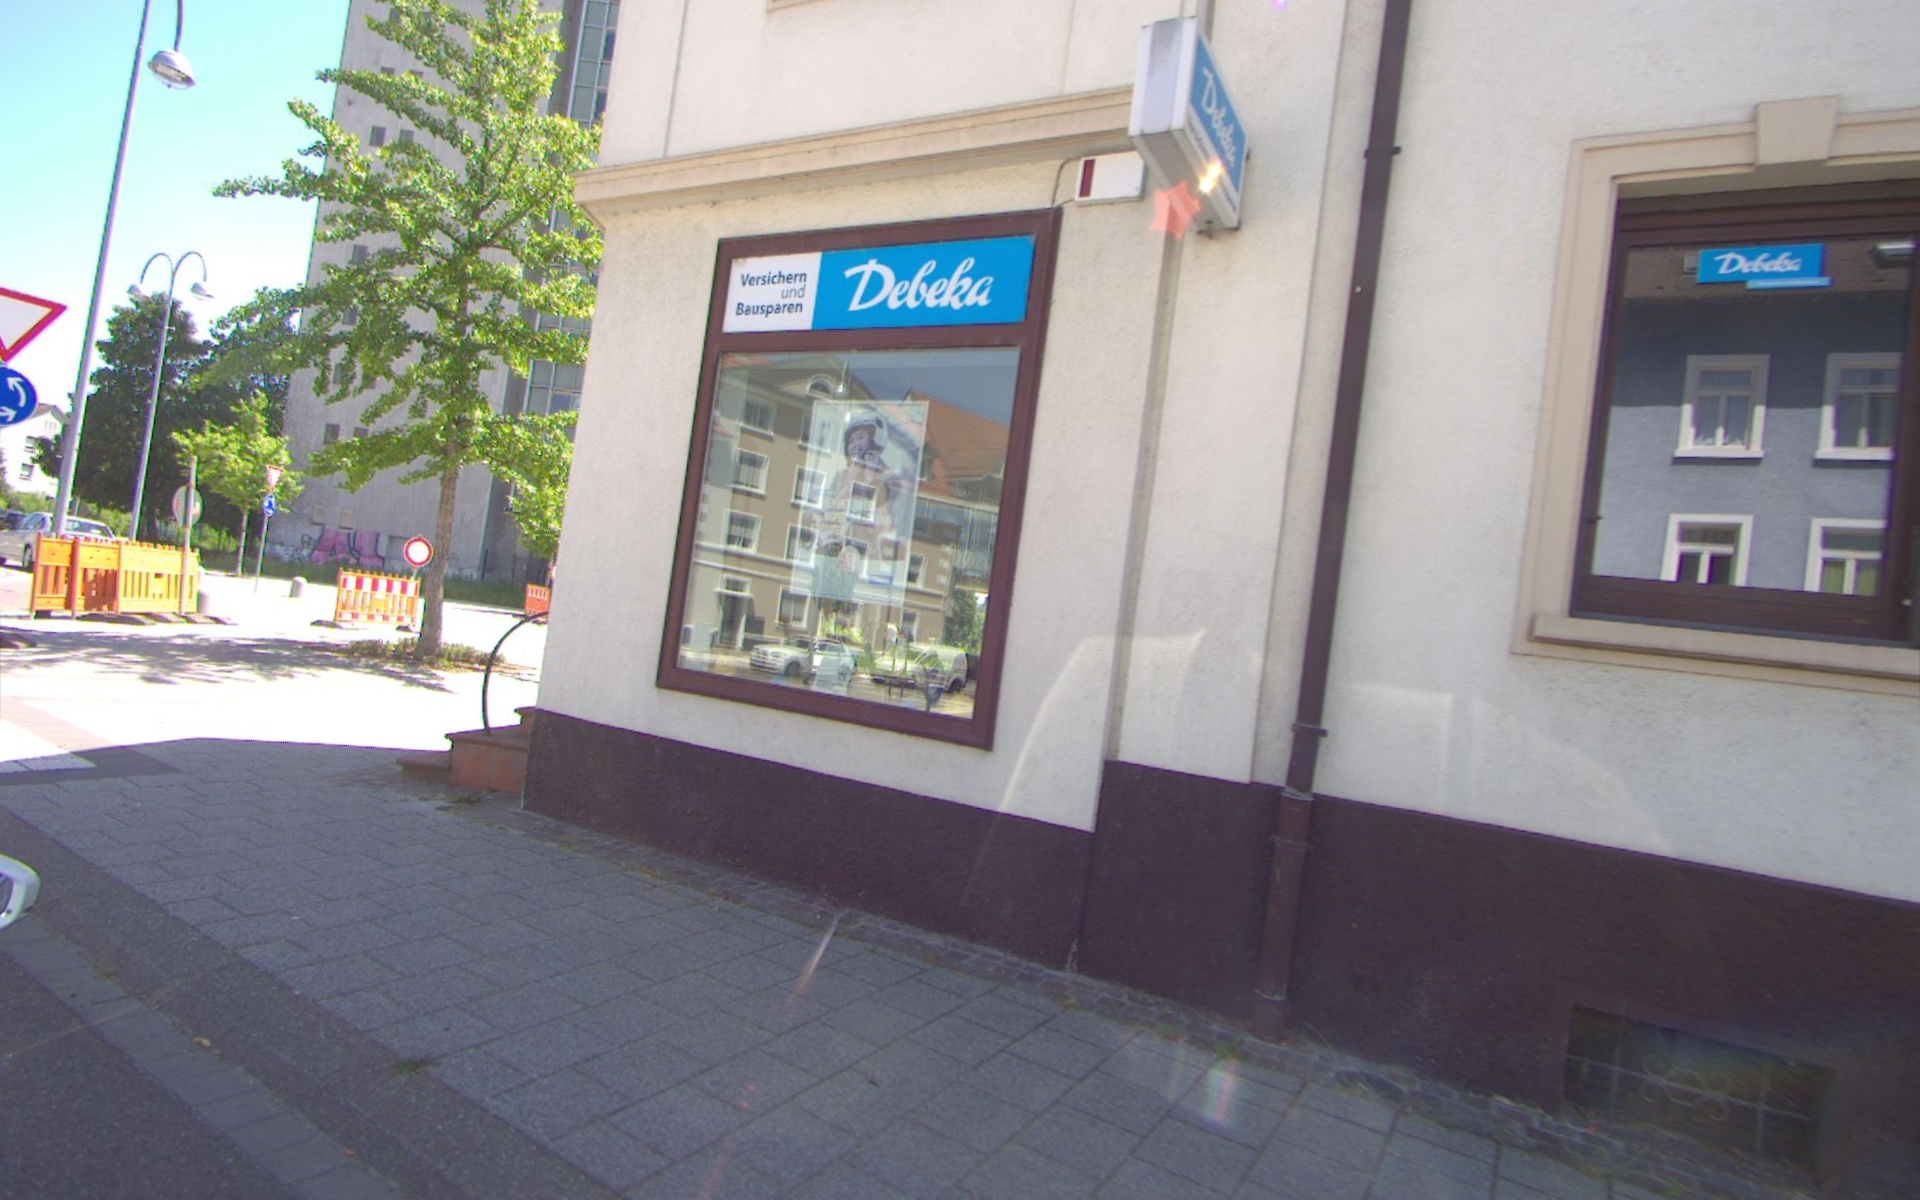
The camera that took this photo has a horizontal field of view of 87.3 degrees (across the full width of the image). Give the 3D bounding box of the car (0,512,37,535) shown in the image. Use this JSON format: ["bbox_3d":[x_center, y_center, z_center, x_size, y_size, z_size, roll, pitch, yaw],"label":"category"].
[{"bbox_3d":[-73.439,-5.965,78.012,1.725,1.453,3.685,8,-2,-28],"label":"car"}]

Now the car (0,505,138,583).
[{"bbox_3d":[-21.361,-1.354,23.938,3.652,1.453,1.740,6,-2,35],"label":"car"}]
